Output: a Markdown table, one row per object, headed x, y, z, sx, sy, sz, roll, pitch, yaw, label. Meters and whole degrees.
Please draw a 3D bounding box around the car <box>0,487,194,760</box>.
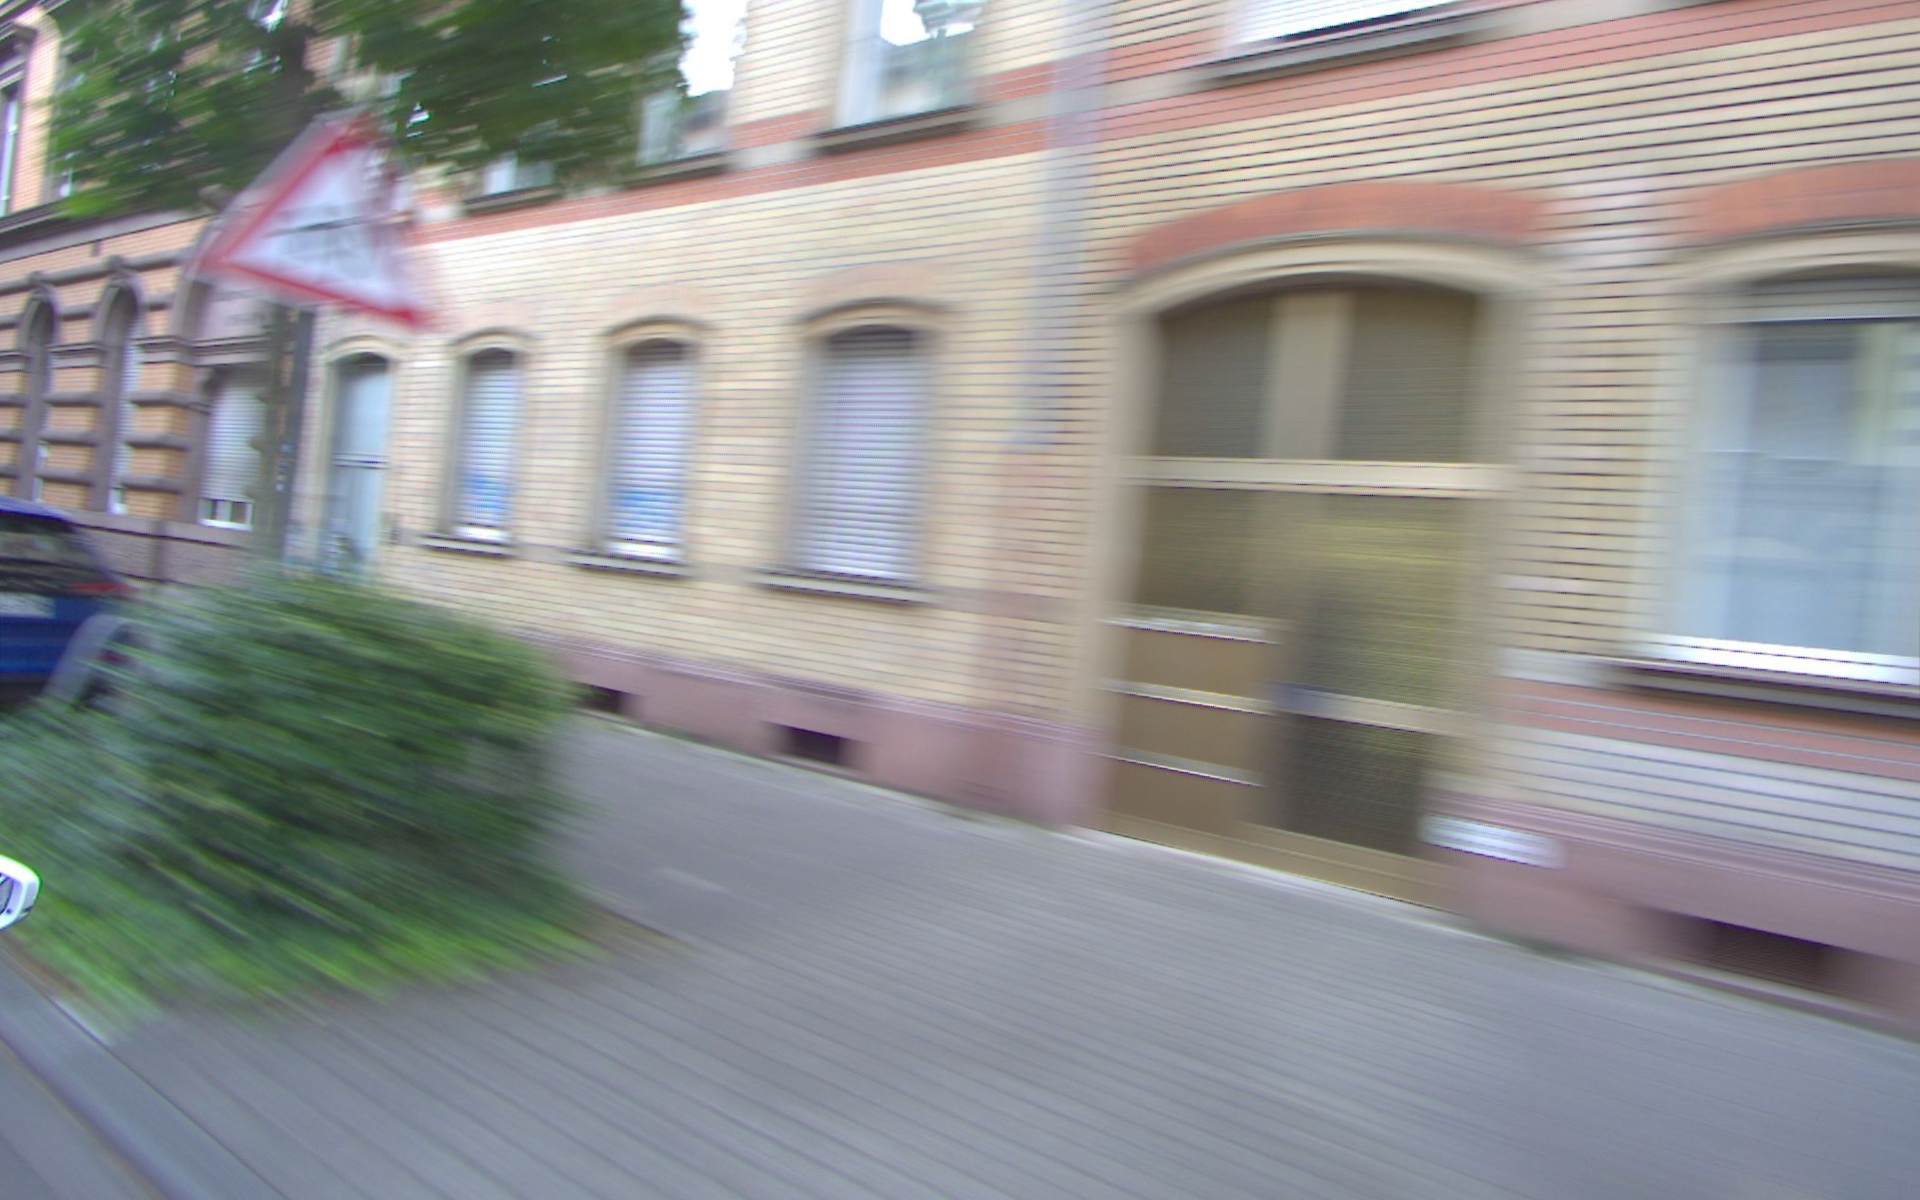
| x | y | z | sx | sy | sz | roll | pitch | yaw | label |
| --- | --- | --- | --- | --- | --- | --- | --- | --- | --- |
| -6.997 | -0.070 | 6.521 | 4.173 | 1.484 | 1.630 | 7 | 0 | 29 | car |
